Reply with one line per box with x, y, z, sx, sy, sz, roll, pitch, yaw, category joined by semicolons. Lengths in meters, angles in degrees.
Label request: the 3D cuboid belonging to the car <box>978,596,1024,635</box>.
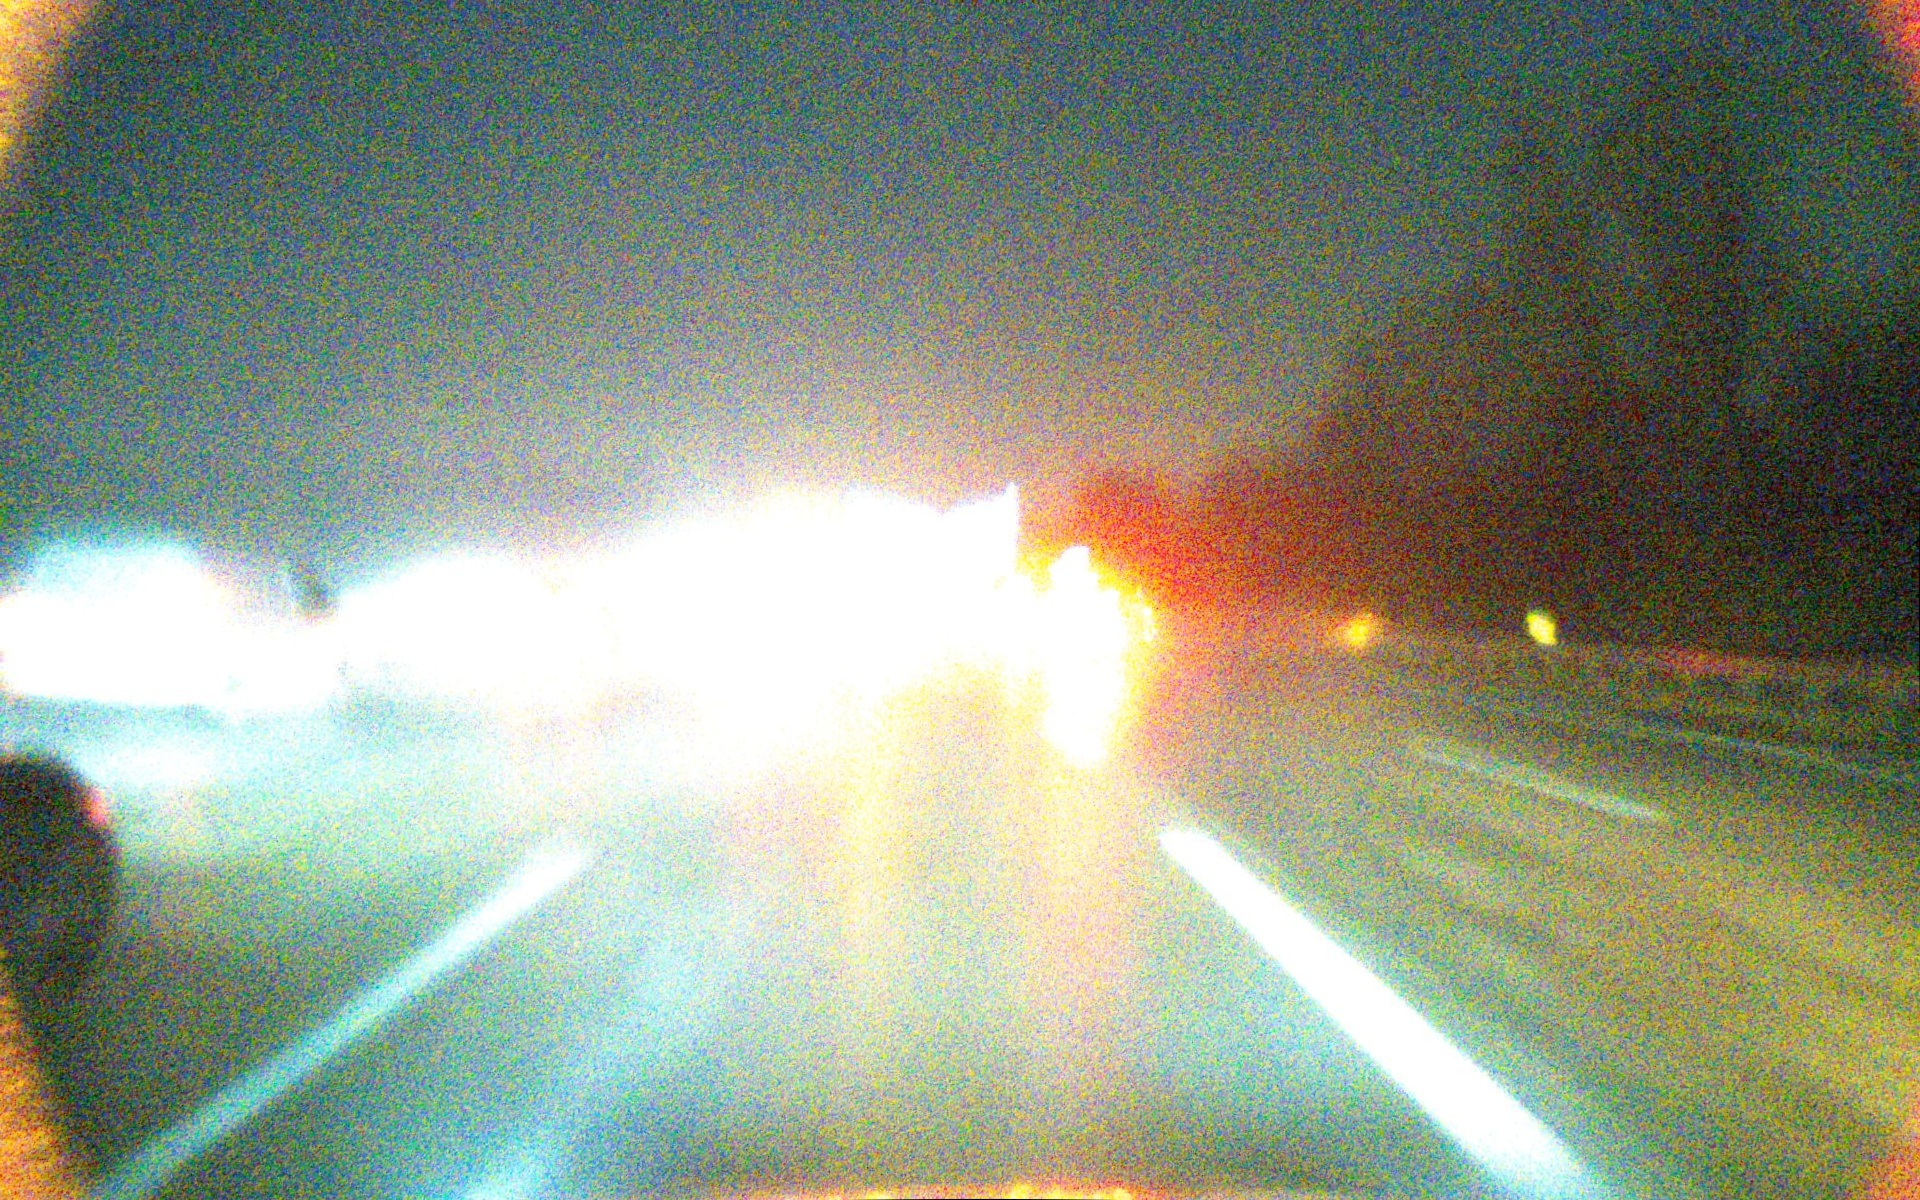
1.882;0.729;77.683;1.953;1.733;4.457;1;0;-1;car

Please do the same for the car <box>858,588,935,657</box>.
-1.718;0.605;46.052;1.997;1.792;4.514;1;0;-1;car

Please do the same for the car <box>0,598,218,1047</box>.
-3.926;0.728;4.935;1.623;1.456;4.244;0;0;-2;car

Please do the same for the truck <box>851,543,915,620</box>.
-5.800;-1.337;126.307;4.166;5.539;10.884;1;0;1;truck

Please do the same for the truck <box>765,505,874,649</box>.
-5.159;-0.751;60.963;3.585;4.820;9.842;1;0;-5;truck

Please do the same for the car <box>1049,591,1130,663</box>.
3.427;0.707;44.486;1.839;1.793;4.000;1;0;0;car

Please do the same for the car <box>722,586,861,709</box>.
-2.487;0.649;25.239;1.729;1.719;4.000;1;0;-1;car

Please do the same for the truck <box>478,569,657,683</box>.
-8.391;0.545;36.053;2.800;2.239;5.854;1;0;-4;truck

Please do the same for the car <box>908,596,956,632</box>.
-1.657;0.846;99.151;2.775;2.049;5.509;1;0;0;car

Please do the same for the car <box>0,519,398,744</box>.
-8.317;0.303;18.687;2.080;2.141;5.628;1;0;-1;car

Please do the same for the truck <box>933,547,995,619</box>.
0.213;-1.238;127.797;4.079;5.306;9.946;1;0;-4;truck

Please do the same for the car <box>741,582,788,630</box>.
-9.864;0.288;83.304;2.221;2.313;5.377;1;0;-7;car
